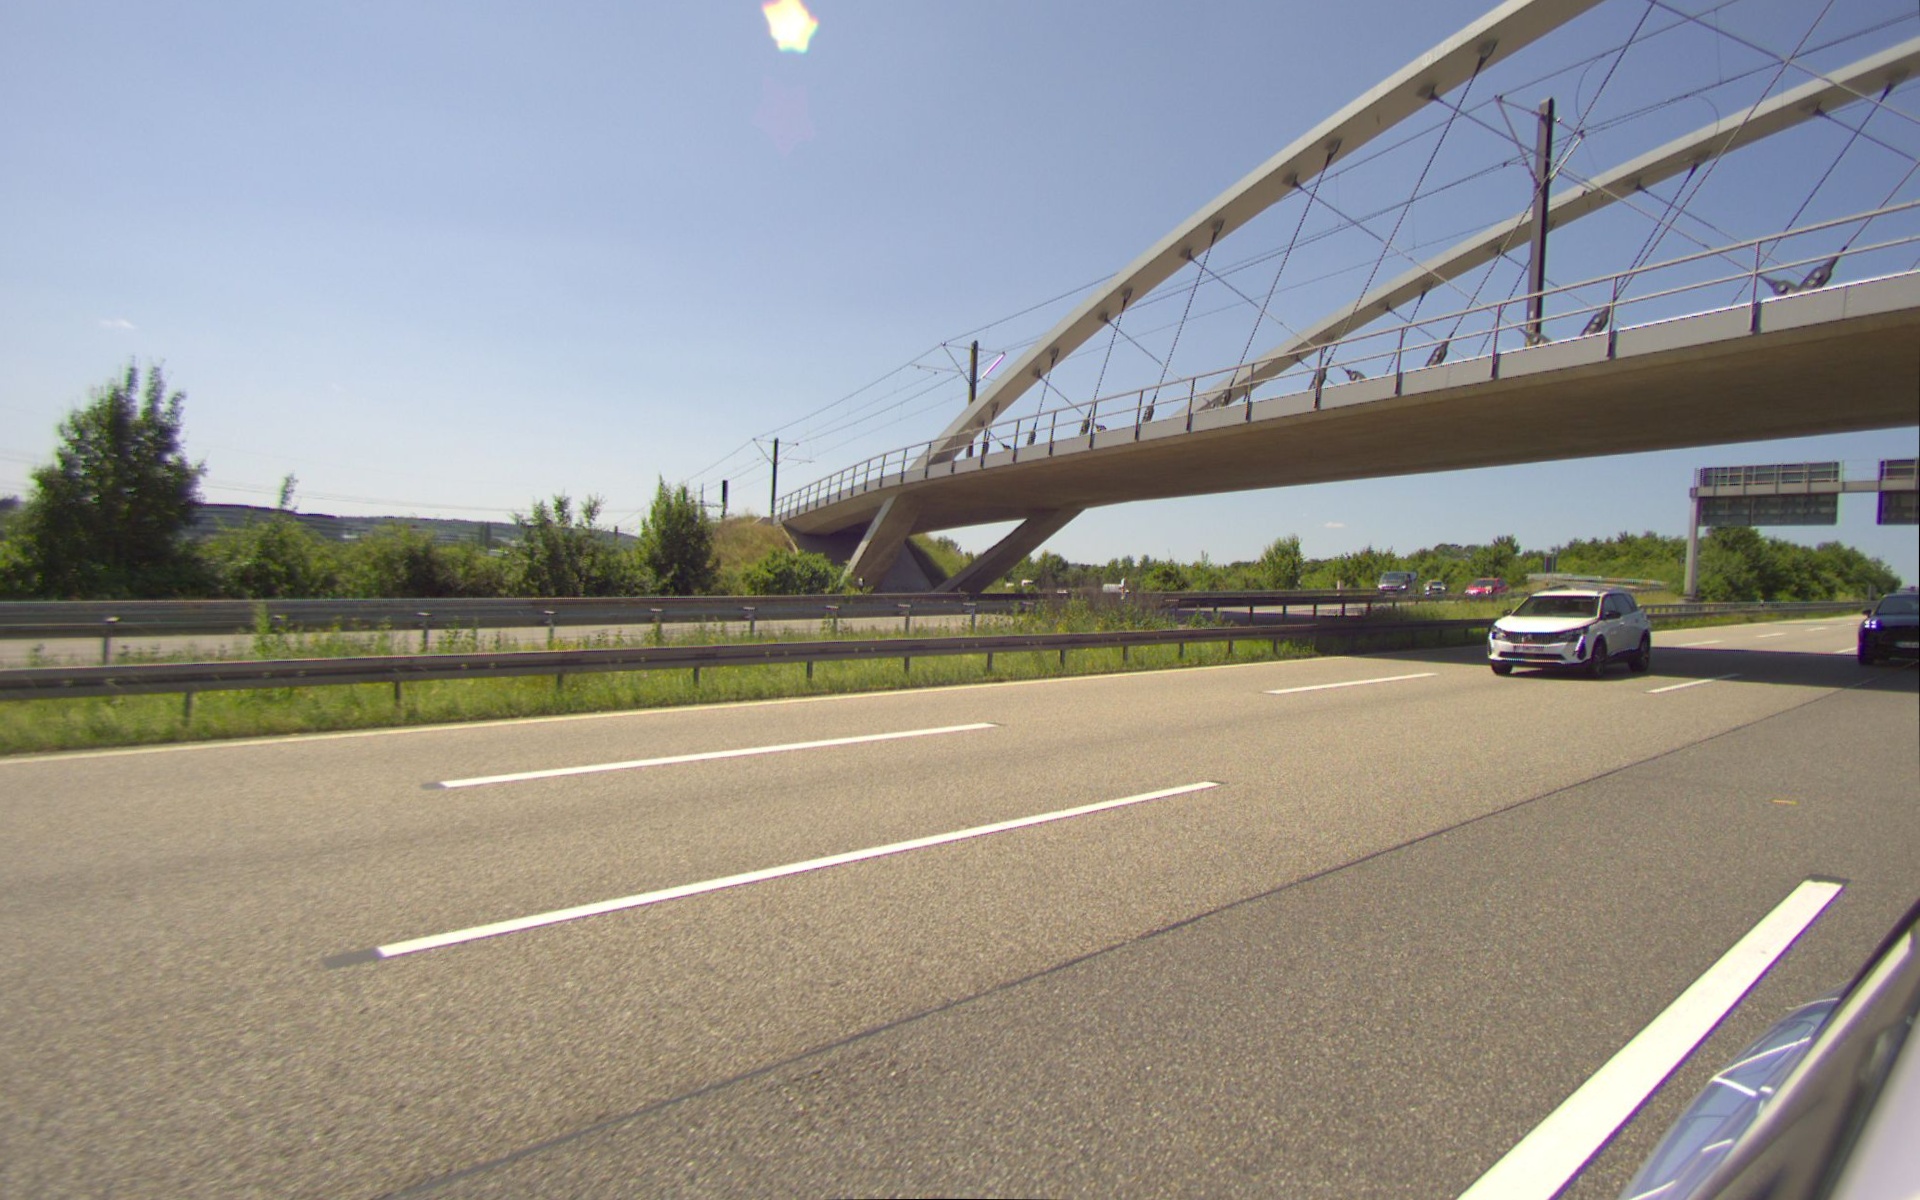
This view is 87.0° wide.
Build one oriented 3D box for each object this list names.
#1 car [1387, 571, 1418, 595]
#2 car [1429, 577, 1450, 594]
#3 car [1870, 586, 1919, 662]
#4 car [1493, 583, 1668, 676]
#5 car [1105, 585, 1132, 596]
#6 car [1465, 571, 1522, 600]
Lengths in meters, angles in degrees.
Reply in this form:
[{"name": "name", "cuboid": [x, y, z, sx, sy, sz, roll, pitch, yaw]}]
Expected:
[{"name": "car", "cuboid": [30.123, -1.134, 68.862, 1.689, 1.595, 4.089, 0, 0, 27]}, {"name": "car", "cuboid": [45.724, -1.347, 96.507, 1.686, 1.595, 4.095, 0, 0, 24]}, {"name": "car", "cuboid": [21.879, 0.488, 22.652, 4.063, 1.615, 1.928, -1, 0, -43]}, {"name": "car", "cuboid": [12.221, 0.500, 19.819, 4.541, 1.611, 1.745, -1, 0, -43]}, {"name": "car", "cuboid": [35.598, -2.151, 227.825, 5.782, 2.492, 2.056, 0, 0, 38]}, {"name": "car", "cuboid": [30.509, -0.798, 57.863, 1.925, 1.615, 4.069, 0, 0, 42]}]
